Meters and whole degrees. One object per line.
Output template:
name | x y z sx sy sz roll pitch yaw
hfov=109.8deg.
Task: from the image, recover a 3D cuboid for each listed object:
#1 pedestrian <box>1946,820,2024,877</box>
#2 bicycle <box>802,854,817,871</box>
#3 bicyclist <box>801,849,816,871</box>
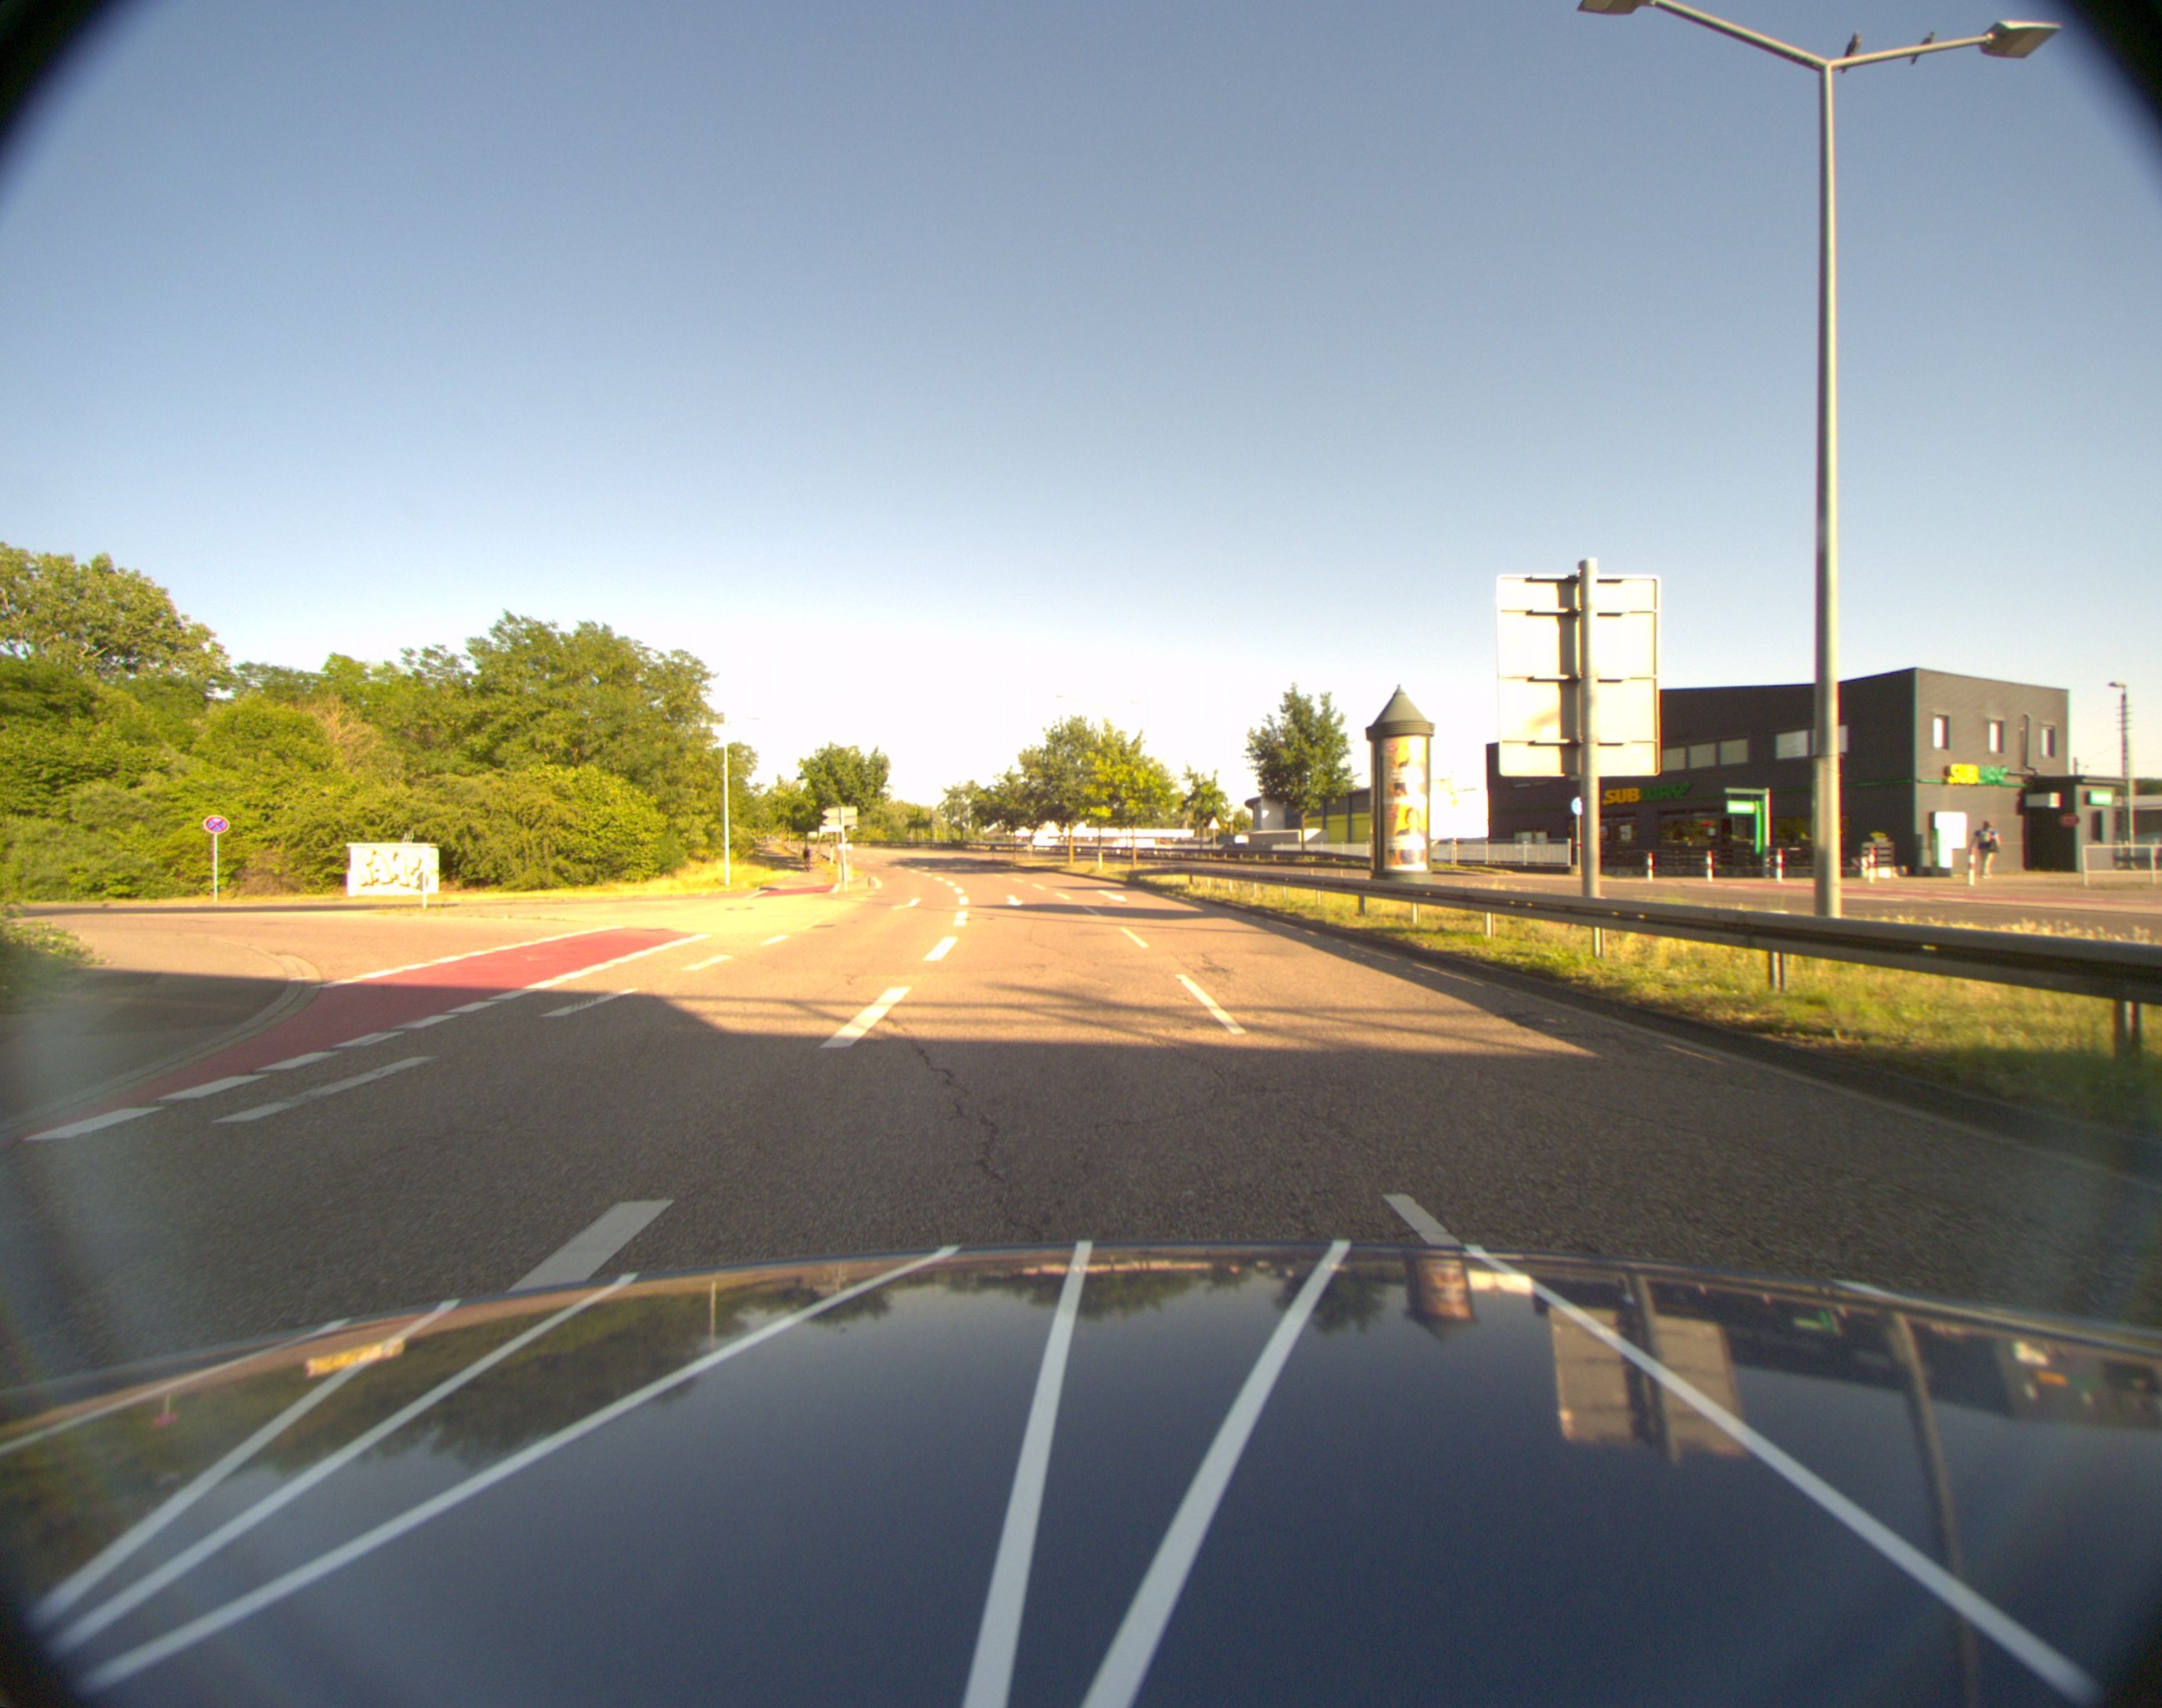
pedestrian | 29.906 -0.187 25.162 1.275 1.825 1.085 -2 1 0
bicycle | -18.154 0.564 50.762 0.783 1.051 2.492 -3 1 -22
bicyclist | -18.190 0.378 50.745 0.844 1.413 1.112 -3 1 -22
